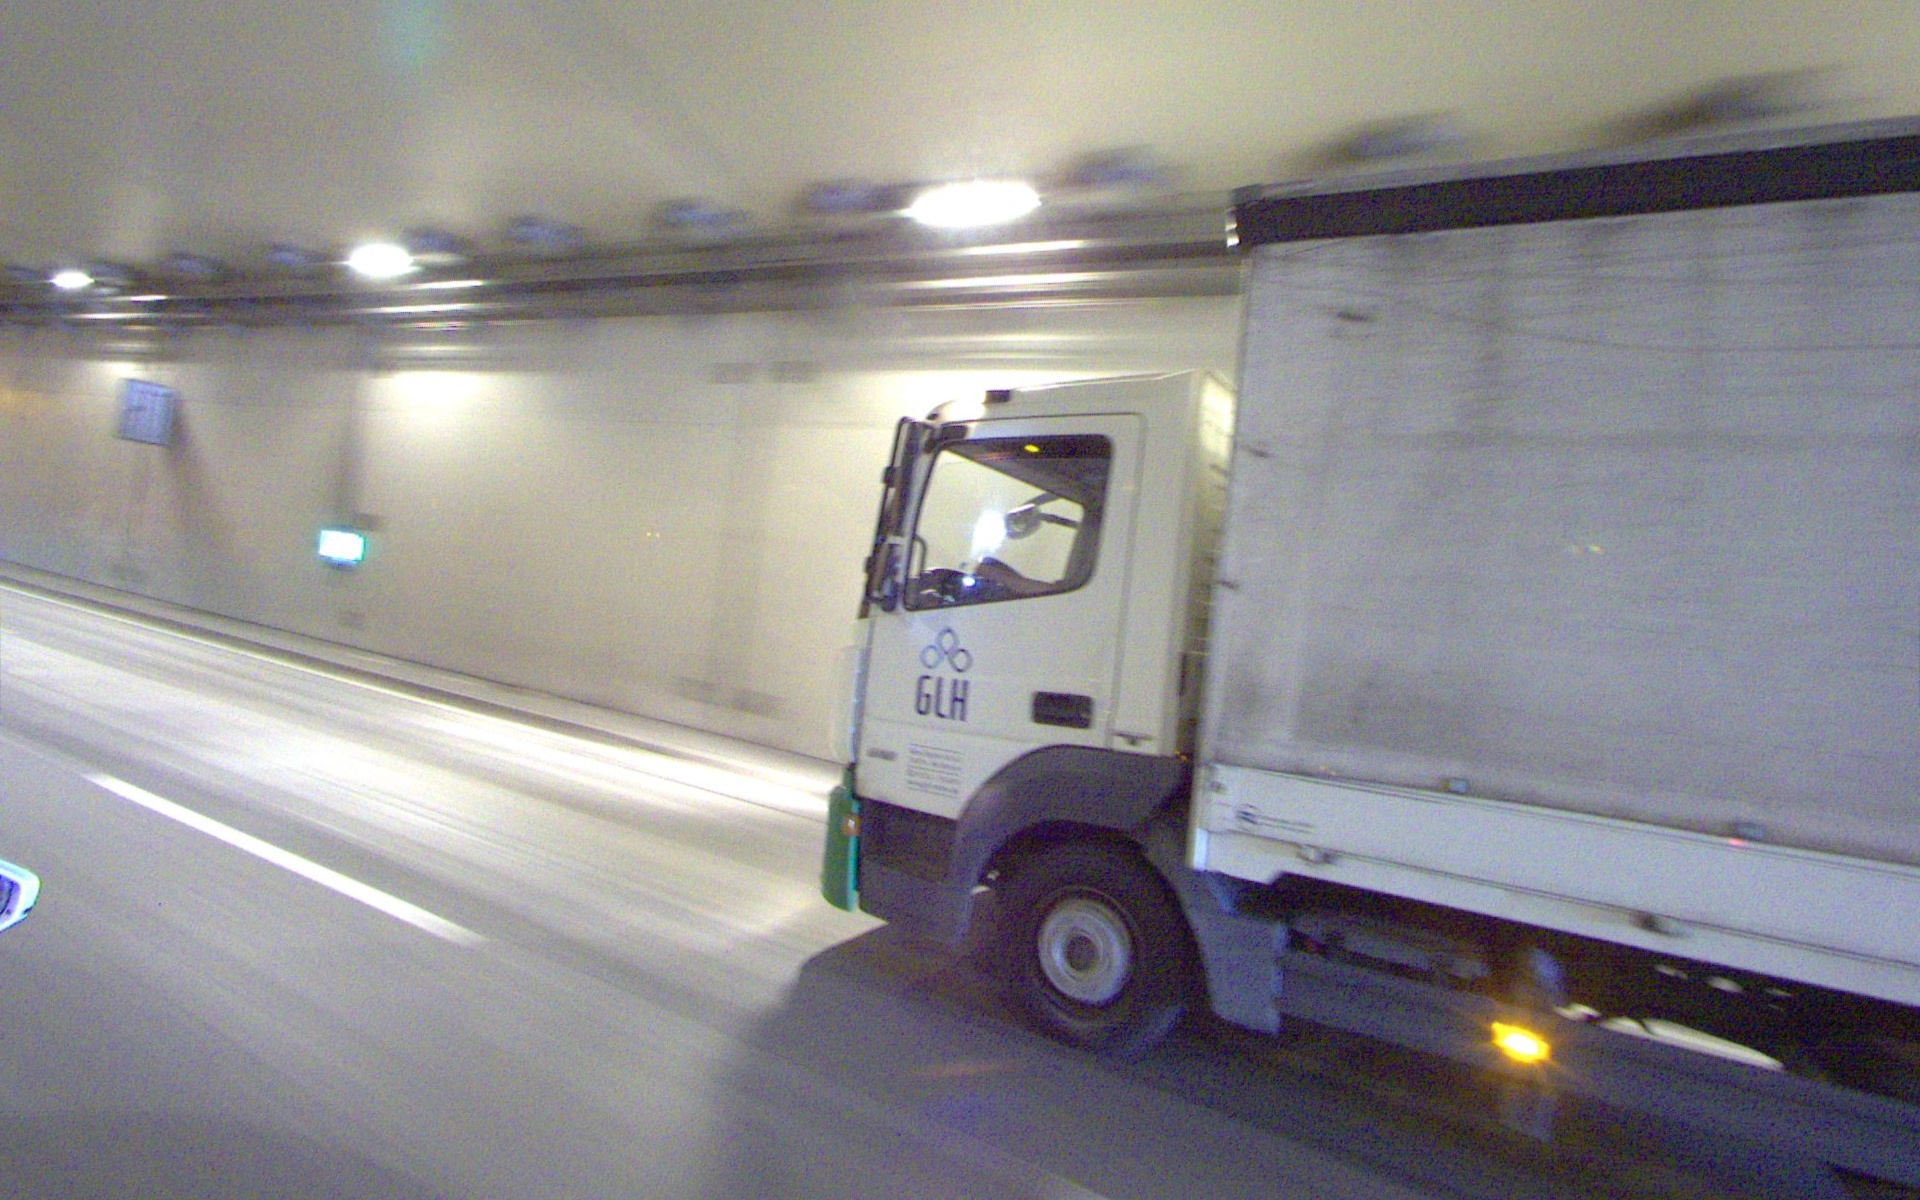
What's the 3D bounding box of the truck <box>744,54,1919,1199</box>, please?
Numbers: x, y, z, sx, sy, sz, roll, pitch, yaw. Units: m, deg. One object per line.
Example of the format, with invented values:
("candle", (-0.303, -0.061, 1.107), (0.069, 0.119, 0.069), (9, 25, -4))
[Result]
("truck", (3.029, 0.376, 3.515), (7.120, 3.218, 2.560), (7, -1, 29))
